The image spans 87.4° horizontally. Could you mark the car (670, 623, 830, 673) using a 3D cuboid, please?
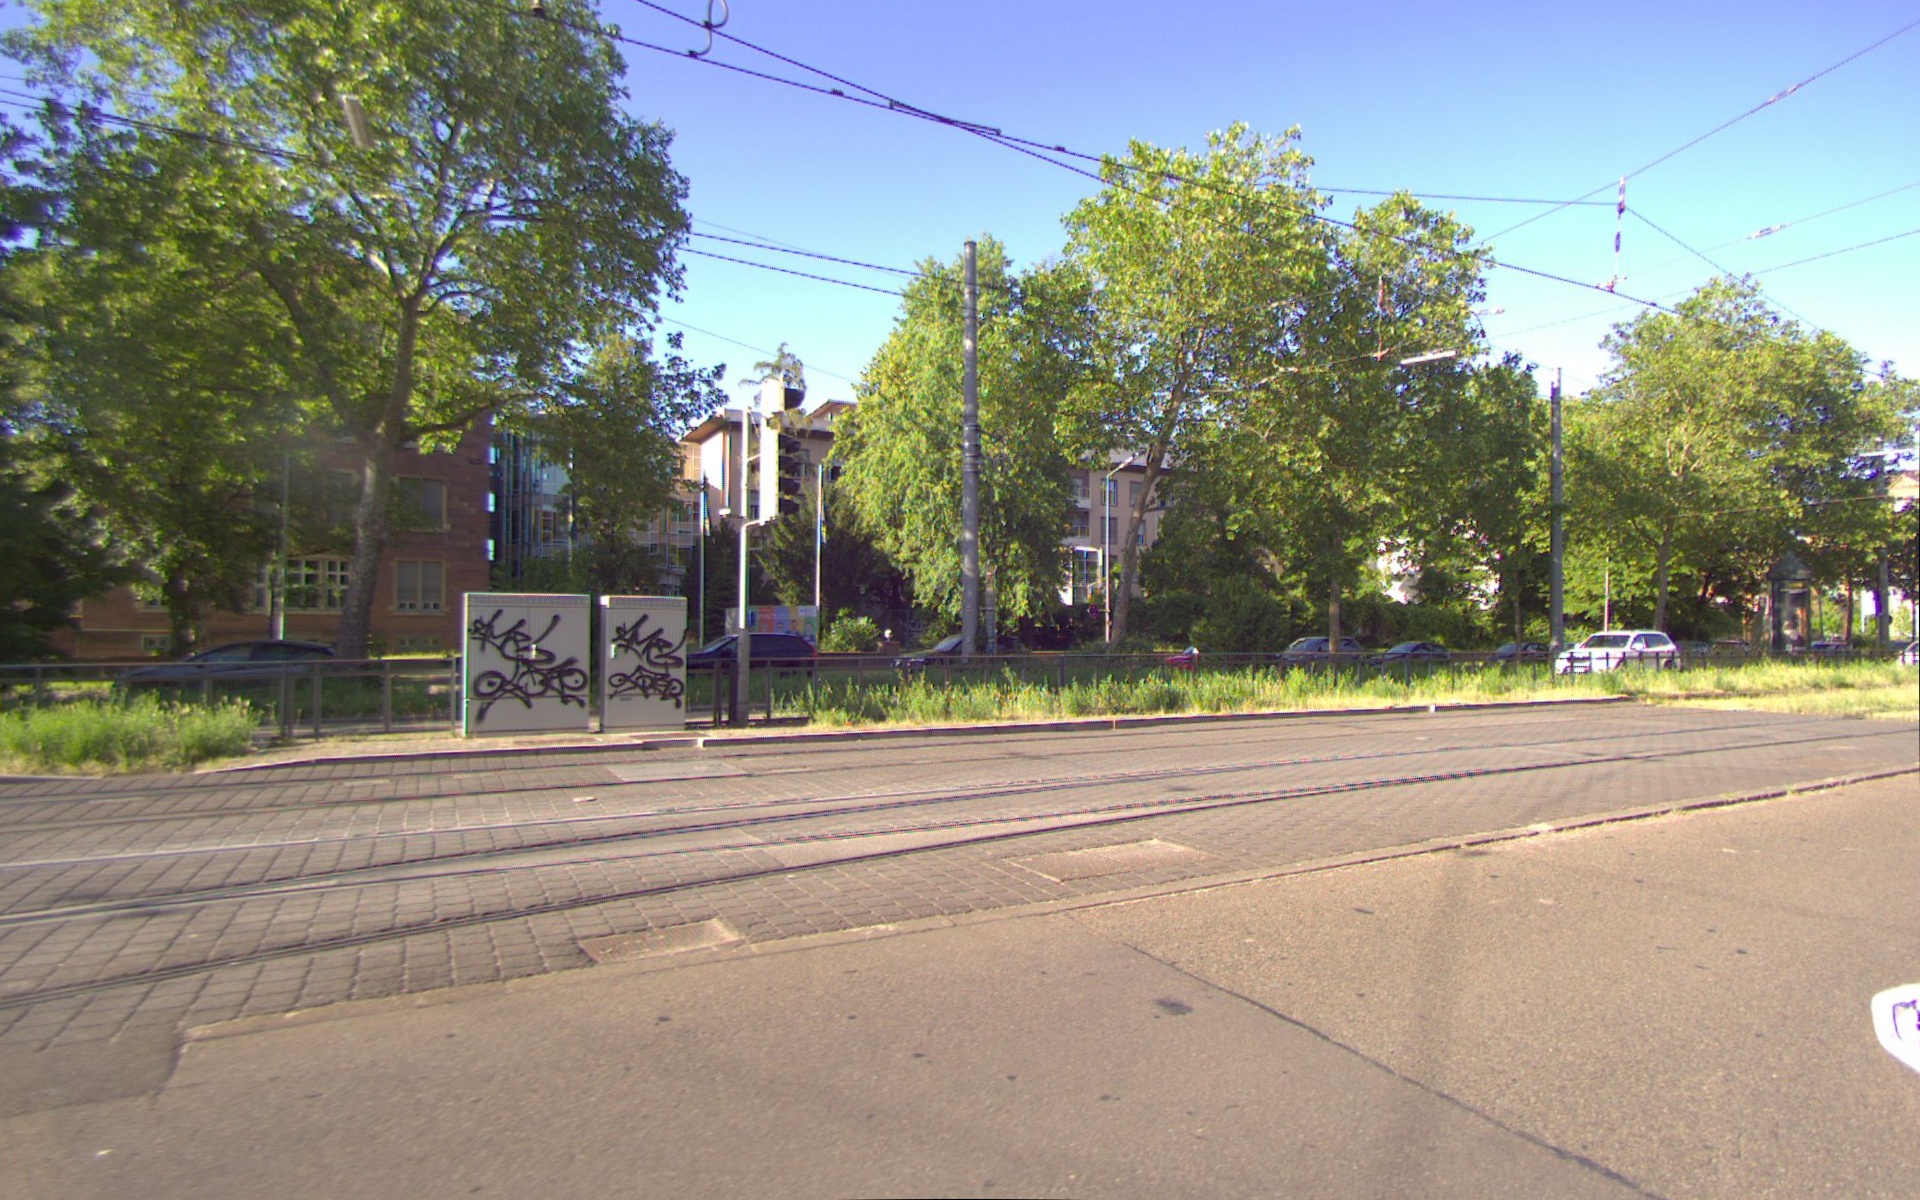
[{"bbox_3d":[-5.719,1.294,27.468,3.976,1.239,1.588,2,0,-29],"label":"car"}]

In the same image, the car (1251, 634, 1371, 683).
[{"bbox_3d":[13.528,2.207,38.692,4.463,1.706,1.983,1,0,-31],"label":"car"}]

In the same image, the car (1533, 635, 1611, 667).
[{"bbox_3d":[28.297,2.346,46.421,3.460,1.329,1.561,1,0,-29],"label":"car"}]

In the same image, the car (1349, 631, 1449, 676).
[{"bbox_3d":[18.154,2.178,41.505,3.952,1.706,1.812,1,0,-30],"label":"car"}]

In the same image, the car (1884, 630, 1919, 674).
[{"bbox_3d":[37.309,1.981,38.423,3.829,1.550,1.835,1,0,-31],"label":"car"}]

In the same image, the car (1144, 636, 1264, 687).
[{"bbox_3d":[8.796,2.170,36.114,3.954,1.644,1.983,1,0,-31],"label":"car"}]

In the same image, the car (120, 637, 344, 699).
[{"bbox_3d":[-15.669,1.441,21.875,3.716,1.237,1.614,1,-2,-28],"label":"car"}]

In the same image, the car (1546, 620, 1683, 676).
[{"bbox_3d":[21.308,1.508,32.680,4.543,1.641,1.877,1,0,-30],"label":"car"}]
